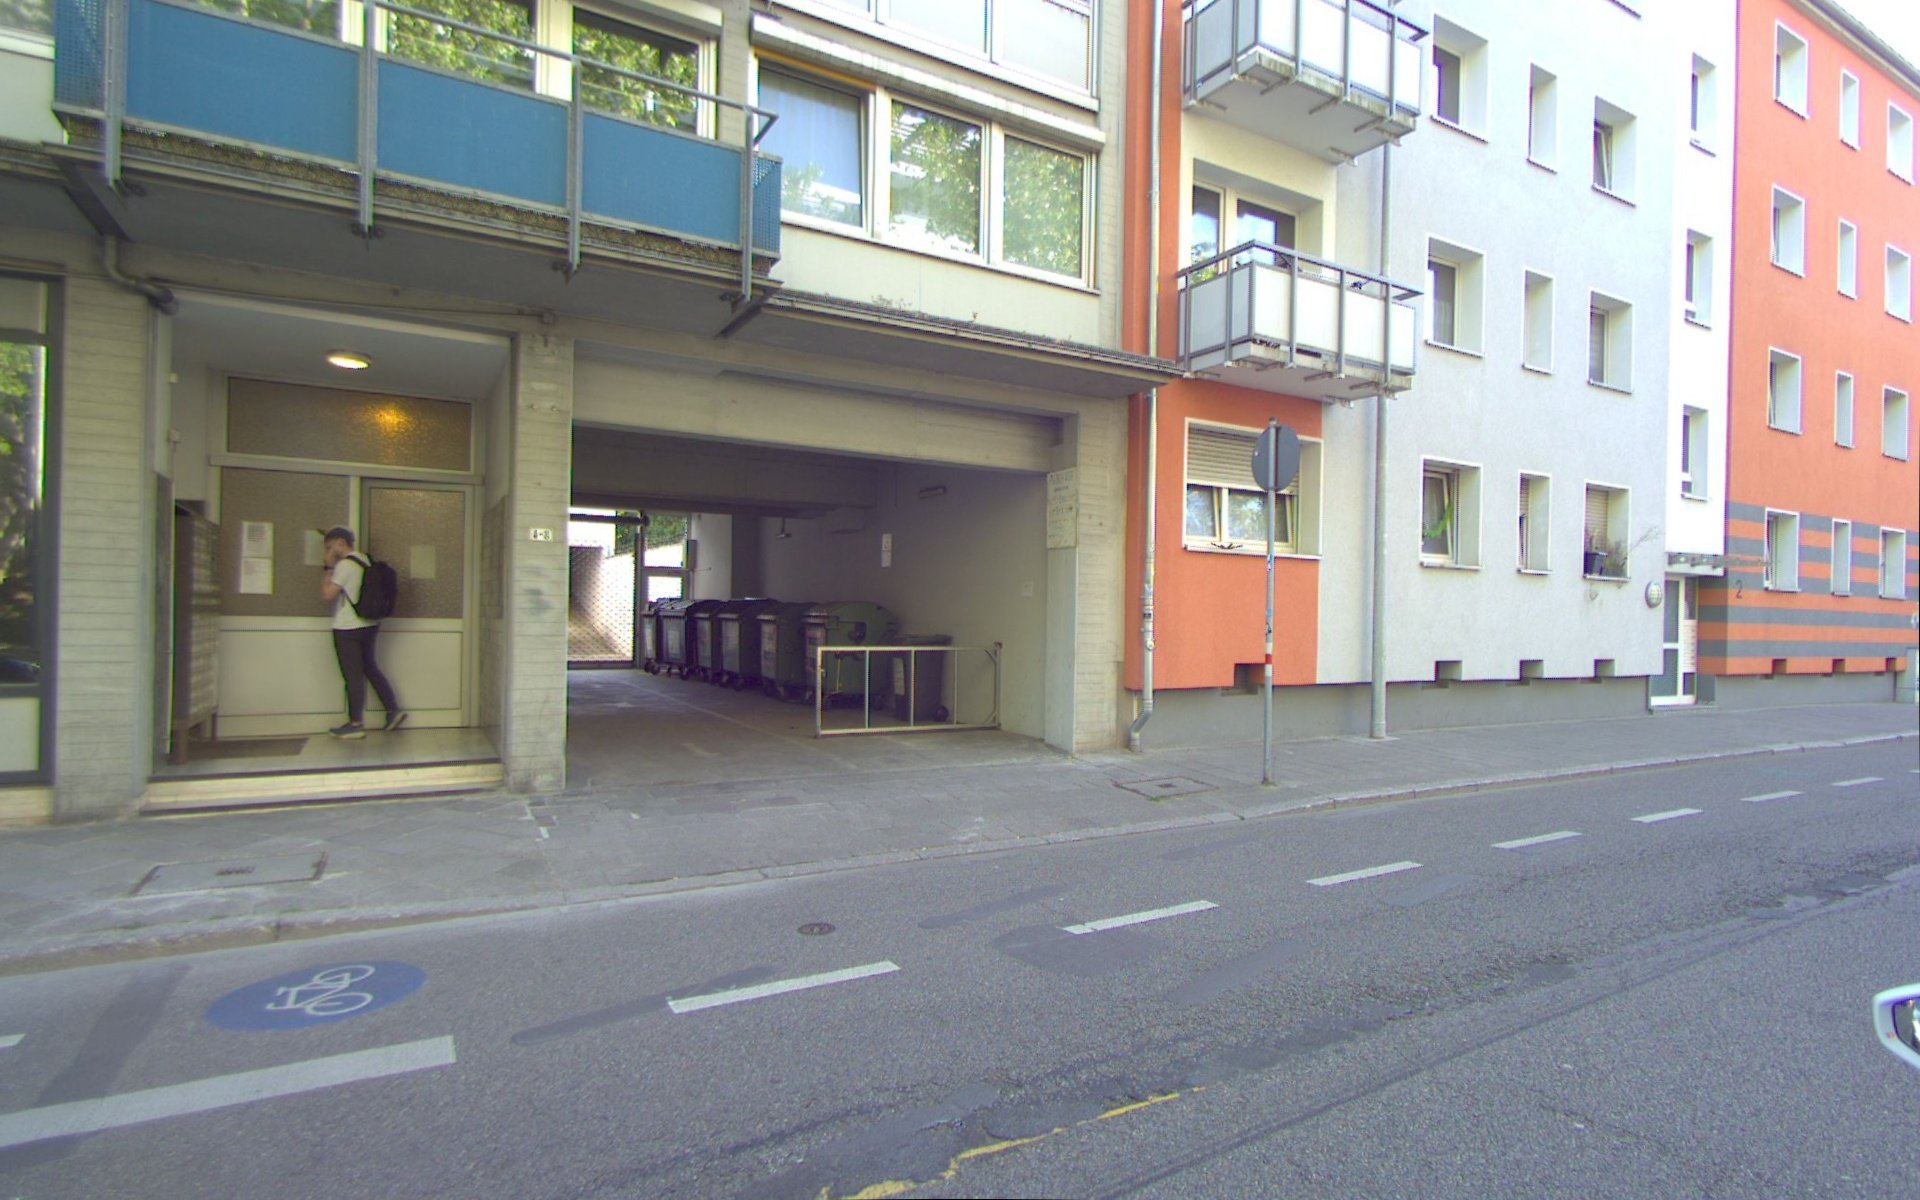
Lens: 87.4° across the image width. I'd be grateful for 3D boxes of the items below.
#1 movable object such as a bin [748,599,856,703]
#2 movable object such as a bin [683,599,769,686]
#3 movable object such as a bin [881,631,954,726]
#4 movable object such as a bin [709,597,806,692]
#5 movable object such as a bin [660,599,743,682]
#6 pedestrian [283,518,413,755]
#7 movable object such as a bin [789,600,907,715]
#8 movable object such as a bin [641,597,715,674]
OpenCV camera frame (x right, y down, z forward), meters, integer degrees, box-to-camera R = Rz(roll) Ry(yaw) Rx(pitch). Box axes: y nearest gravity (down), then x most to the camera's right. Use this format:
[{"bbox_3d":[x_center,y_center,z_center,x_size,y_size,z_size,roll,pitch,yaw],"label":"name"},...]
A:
[{"bbox_3d":[-2.397,0.735,15.129,1.186,1.467,1.319,2,0,-30],"label":"movable object such as a bin"},{"bbox_3d":[-4.135,0.735,17.704,1.186,1.467,1.114,2,0,-30],"label":"movable object such as a bin"},{"bbox_3d":[-0.529,0.953,12.404,0.745,1.116,0.463,2,0,-30],"label":"movable object such as a bin"},{"bbox_3d":[-3.364,0.714,16.613,1.186,1.467,1.319,2,0,-30],"label":"movable object such as a bin"},{"bbox_3d":[-4.834,0.737,18.747,1.186,1.467,1.222,2,0,-30],"label":"movable object such as a bin"},{"bbox_3d":[-5.200,0.297,8.543,0.573,1.904,0.782,2,0,42],"label":"pedestrian"},{"bbox_3d":[-1.557,0.754,13.796,1.159,1.467,1.319,2,0,-30],"label":"movable object such as a bin"},{"bbox_3d":[-5.610,0.702,19.976,1.186,1.467,1.027,2,0,-30],"label":"movable object such as a bin"}]
